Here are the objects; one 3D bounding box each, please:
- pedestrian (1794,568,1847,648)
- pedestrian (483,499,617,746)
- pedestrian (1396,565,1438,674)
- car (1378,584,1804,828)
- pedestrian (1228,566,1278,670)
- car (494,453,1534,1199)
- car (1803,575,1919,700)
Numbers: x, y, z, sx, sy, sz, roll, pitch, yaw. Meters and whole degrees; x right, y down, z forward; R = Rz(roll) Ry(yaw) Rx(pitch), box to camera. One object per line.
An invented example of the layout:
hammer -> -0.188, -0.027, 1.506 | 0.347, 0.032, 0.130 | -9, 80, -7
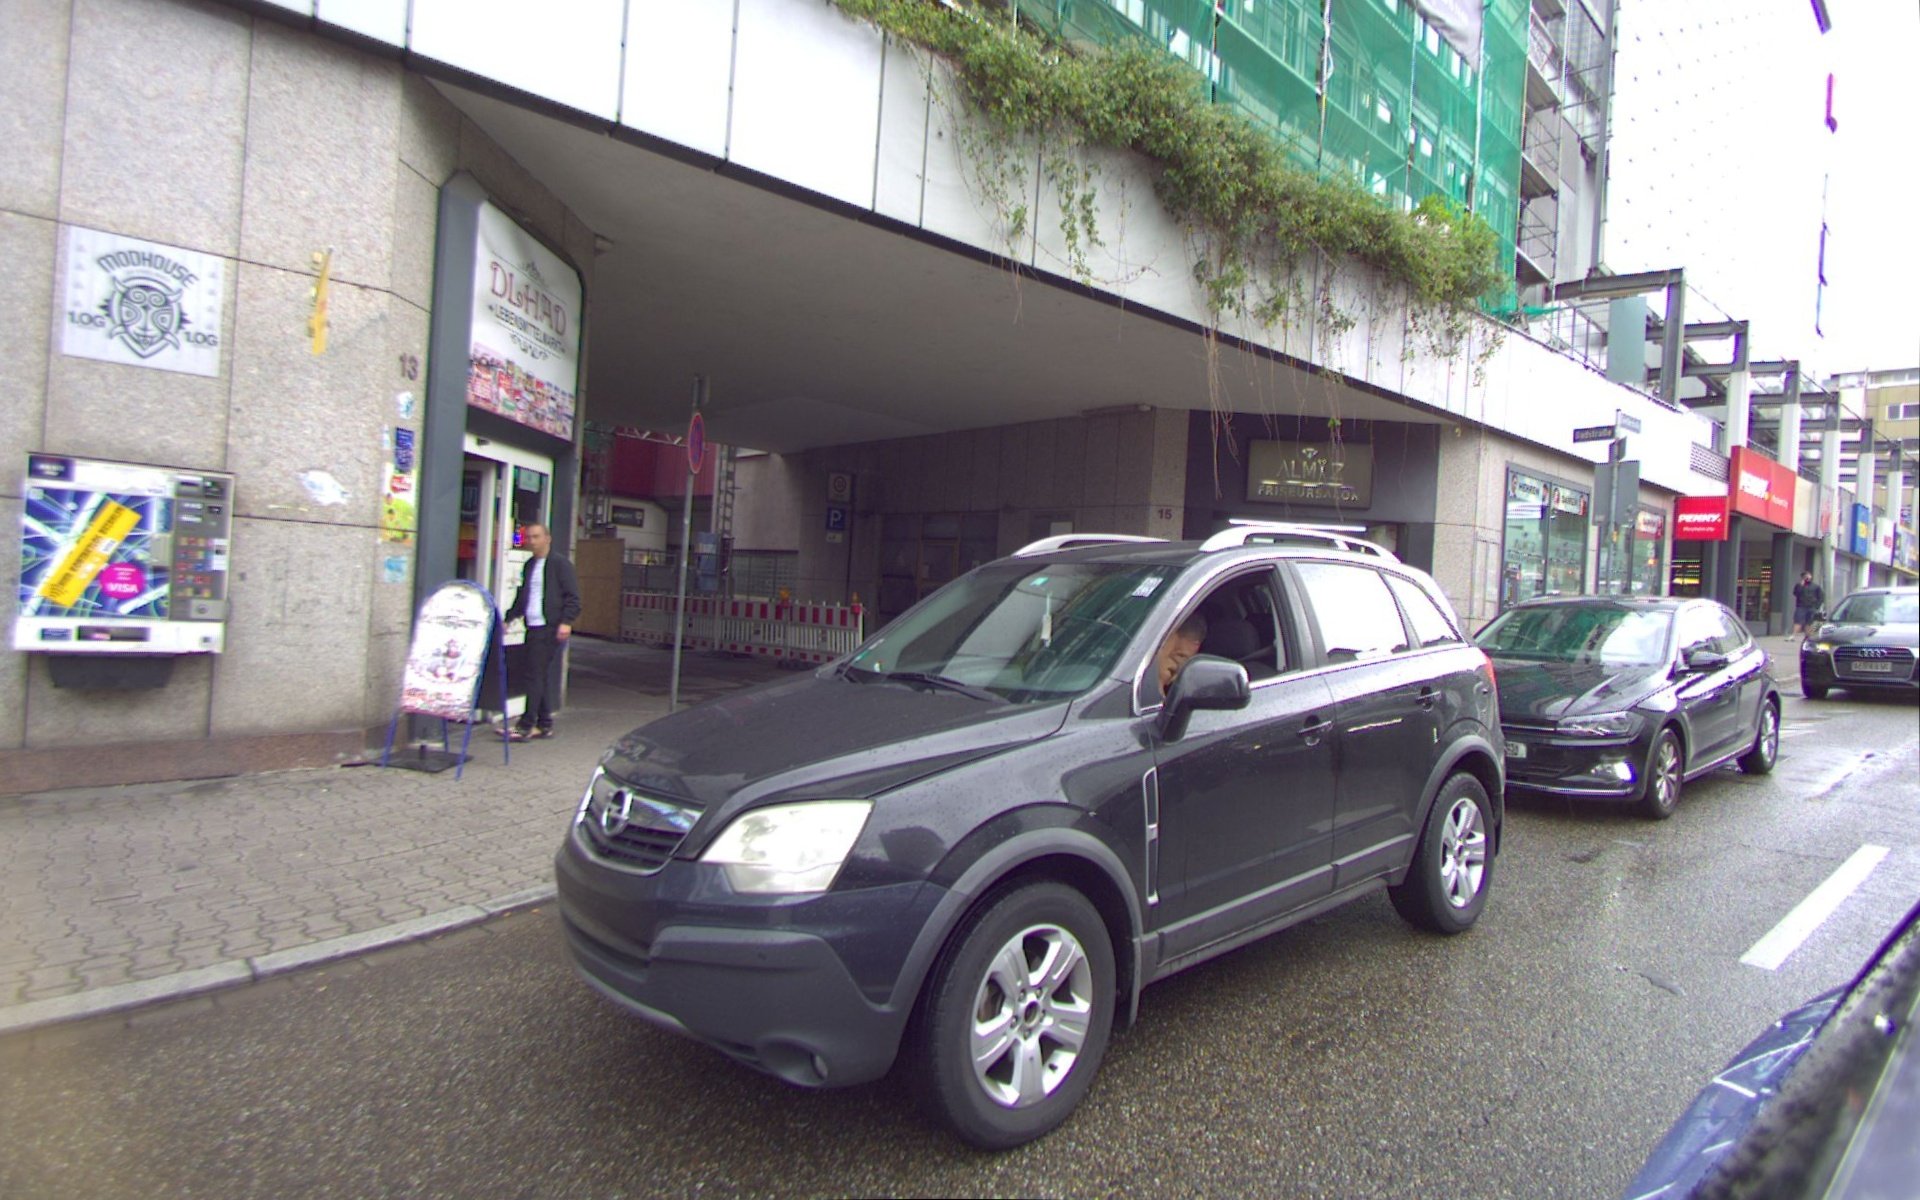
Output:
pedestrian -> 20.760, 0.175, 24.411 | 0.630, 1.798, 0.708 | -6, 11, -40
pedestrian -> -3.206, 0.160, 7.920 | 0.649, 1.800, 0.584 | 8, 3, 33
pedestrian -> 6.931, 0.280, 15.347 | 0.457, 1.616, 0.403 | -1, 2, -42
car -> 5.021, 0.605, 7.886 | 3.708, 1.448, 1.682 | -1, 1, -39
pedestrian -> 4.339, 0.254, 15.001 | 0.514, 1.507, 0.429 | 0, 3, -35
car -> 0.573, 0.499, 4.094 | 4.174, 1.699, 1.734 | -1, 2, -41
car -> 13.743, 0.455, 14.495 | 3.927, 1.604, 1.777 | -1, 0, -38
